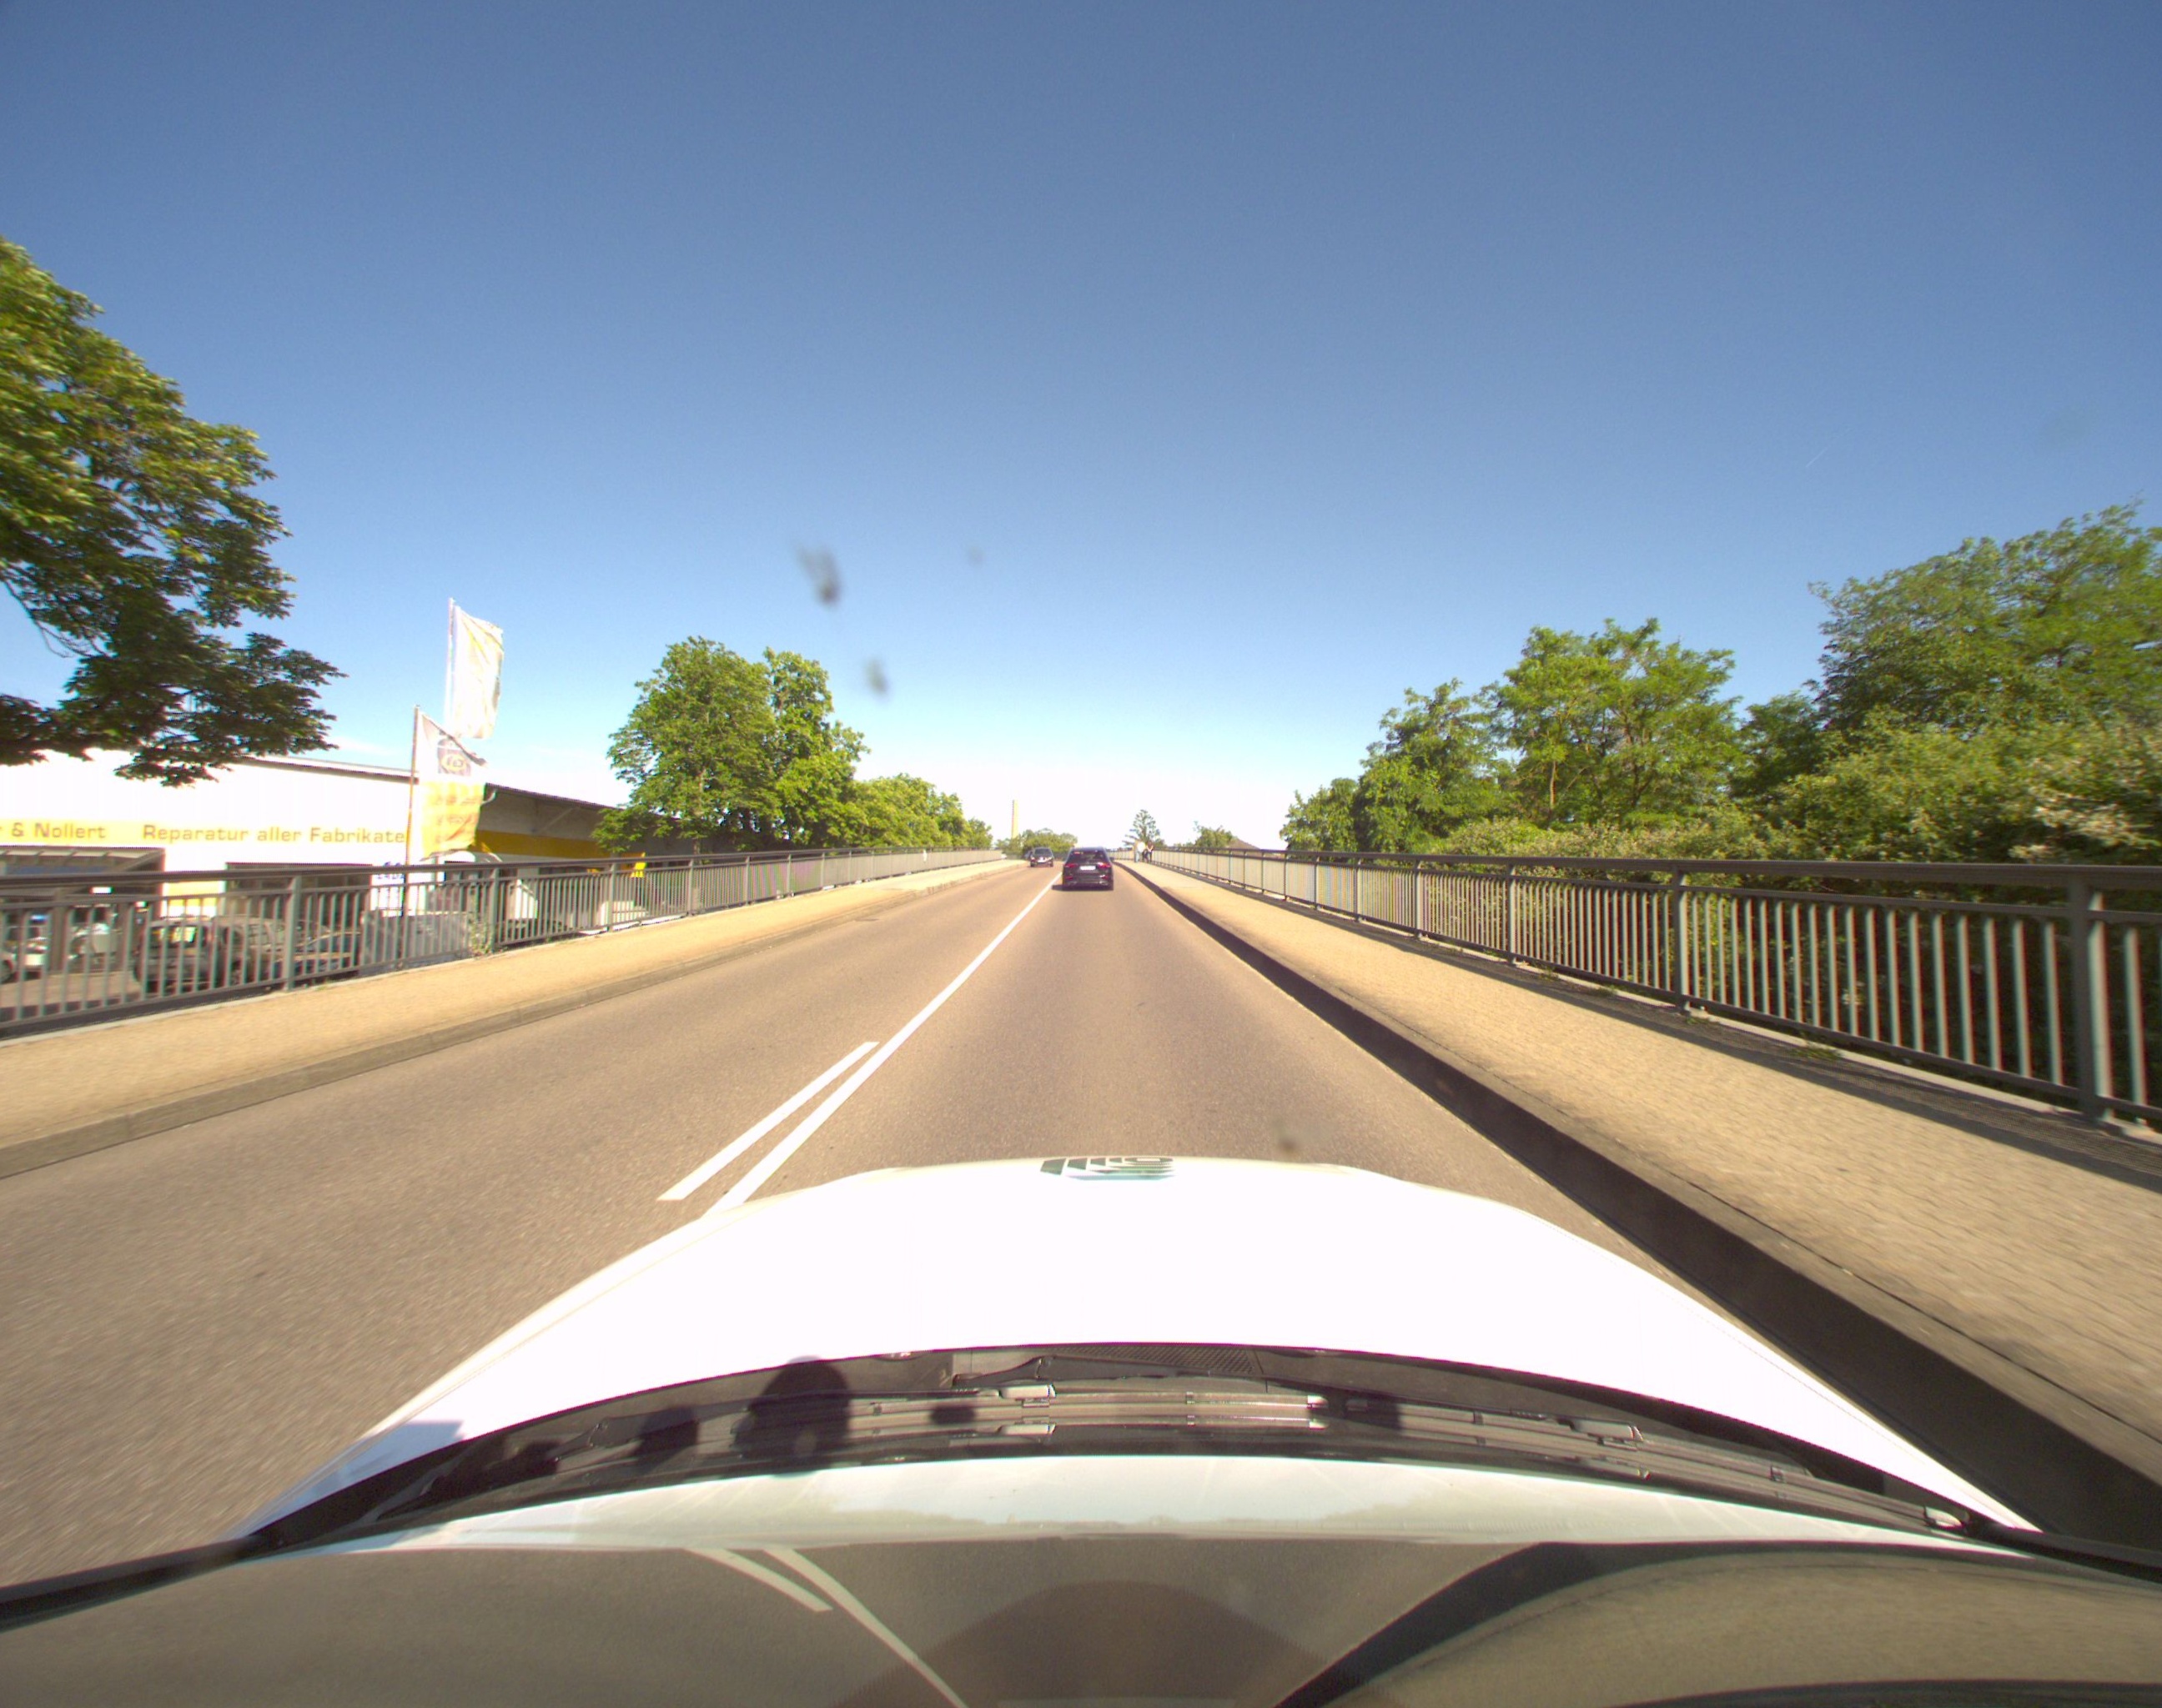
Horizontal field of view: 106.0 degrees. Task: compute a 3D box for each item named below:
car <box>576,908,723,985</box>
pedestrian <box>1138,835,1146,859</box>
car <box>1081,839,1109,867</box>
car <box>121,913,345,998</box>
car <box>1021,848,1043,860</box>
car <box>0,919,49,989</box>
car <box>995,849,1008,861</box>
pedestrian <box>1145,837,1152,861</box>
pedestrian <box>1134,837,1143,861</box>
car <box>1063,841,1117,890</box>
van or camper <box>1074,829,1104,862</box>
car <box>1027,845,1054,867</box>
[{"bbox_3d":[-13.156,2.759,25.166,1.914,1.991,4.263,0,-2,6],"label":"car"},{"bbox_3d":[4.571,-0.514,61.117,0.547,1.750,0.738,1,-2,1],"label":"pedestrian"},{"bbox_3d":[0.970,-0.059,54.190,1.797,1.640,4.001,0,-3,2],"label":"car"},{"bbox_3d":[-22.371,2.593,21.757,1.991,1.852,3.990,0,-2,-7],"label":"car"},{"bbox_3d":[-6.975,-0.045,116.102,1.905,1.489,4.284,-1,-3,13],"label":"car"},{"bbox_3d":[-28.715,2.593,20.214,2.001,1.727,3.971,1,-2,-21],"label":"car"},{"bbox_3d":[-12.890,0.205,132.318,1.990,1.680,3.993,-1,-3,-4],"label":"car"},{"bbox_3d":[5.015,-0.390,60.358,0.470,1.750,0.654,1,-2,1],"label":"pedestrian"},{"bbox_3d":[4.237,-0.382,60.243,0.600,1.750,0.717,1,-2,0],"label":"pedestrian"},{"bbox_3d":[0.253,0.362,29.364,1.765,1.592,3.987,1,1,-2],"label":"car"},{"bbox_3d":[0.685,-0.675,73.808,2.221,2.739,7.070,1,-2,-3],"label":"van or camper"},{"bbox_3d":[-2.996,0.134,60.429,1.764,1.474,3.989,-2,0,0],"label":"car"}]
